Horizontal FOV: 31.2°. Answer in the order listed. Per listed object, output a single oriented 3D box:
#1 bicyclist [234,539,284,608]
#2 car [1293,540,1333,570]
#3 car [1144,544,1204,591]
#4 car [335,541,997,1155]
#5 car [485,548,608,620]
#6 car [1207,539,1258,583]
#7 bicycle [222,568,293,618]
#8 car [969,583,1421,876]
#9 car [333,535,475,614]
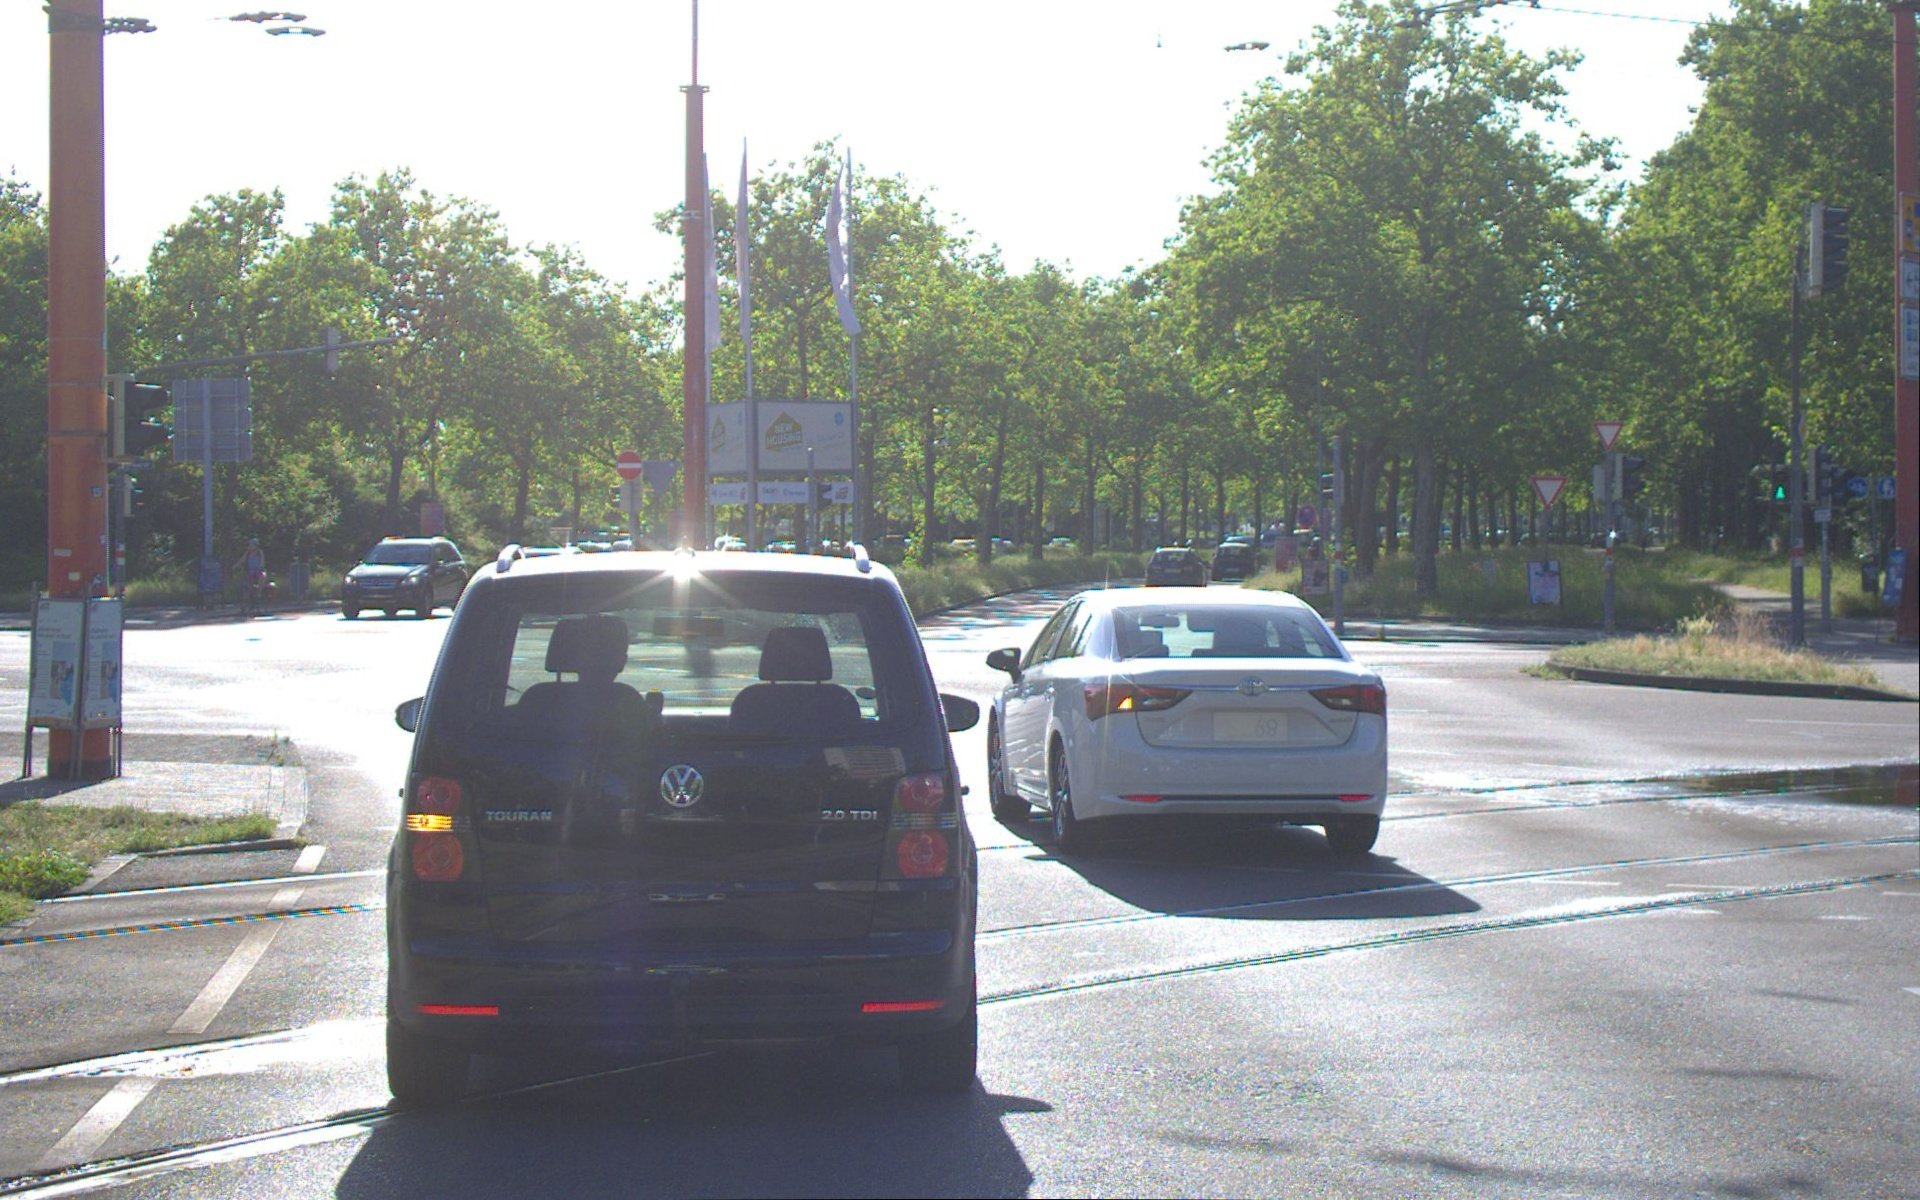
[{"bbox_3d":[-15.986,-0.605,78.408,0.759,1.552,0.980,0,2,15],"label":"bicyclist"},{"bbox_3d":[18.275,-2.350,177.865,1.790,1.497,4.048,1,1,9],"label":"car"},{"bbox_3d":[6.660,-1.027,107.395,1.790,1.383,4.049,1,1,3],"label":"car"},{"bbox_3d":[-0.894,0.625,11.685,1.767,1.638,4.924,0,1,-2],"label":"car"},{"bbox_3d":[-9.074,-0.375,75.655,1.768,1.533,4.090,0,1,7],"label":"car"},{"bbox_3d":[10.834,-1.538,136.543,1.873,1.621,3.999,1,0,6],"label":"car"},{"bbox_3d":[-16.006,-0.173,78.340,0.764,1.087,2.014,0,2,15],"label":"bicycle"},{"bbox_3d":[1.239,0.664,20.124,1.767,1.459,4.367,0,1,-8],"label":"car"},{"bbox_3d":[-12.537,-0.605,77.807,1.903,1.720,4.652,0,1,8],"label":"car"}]
